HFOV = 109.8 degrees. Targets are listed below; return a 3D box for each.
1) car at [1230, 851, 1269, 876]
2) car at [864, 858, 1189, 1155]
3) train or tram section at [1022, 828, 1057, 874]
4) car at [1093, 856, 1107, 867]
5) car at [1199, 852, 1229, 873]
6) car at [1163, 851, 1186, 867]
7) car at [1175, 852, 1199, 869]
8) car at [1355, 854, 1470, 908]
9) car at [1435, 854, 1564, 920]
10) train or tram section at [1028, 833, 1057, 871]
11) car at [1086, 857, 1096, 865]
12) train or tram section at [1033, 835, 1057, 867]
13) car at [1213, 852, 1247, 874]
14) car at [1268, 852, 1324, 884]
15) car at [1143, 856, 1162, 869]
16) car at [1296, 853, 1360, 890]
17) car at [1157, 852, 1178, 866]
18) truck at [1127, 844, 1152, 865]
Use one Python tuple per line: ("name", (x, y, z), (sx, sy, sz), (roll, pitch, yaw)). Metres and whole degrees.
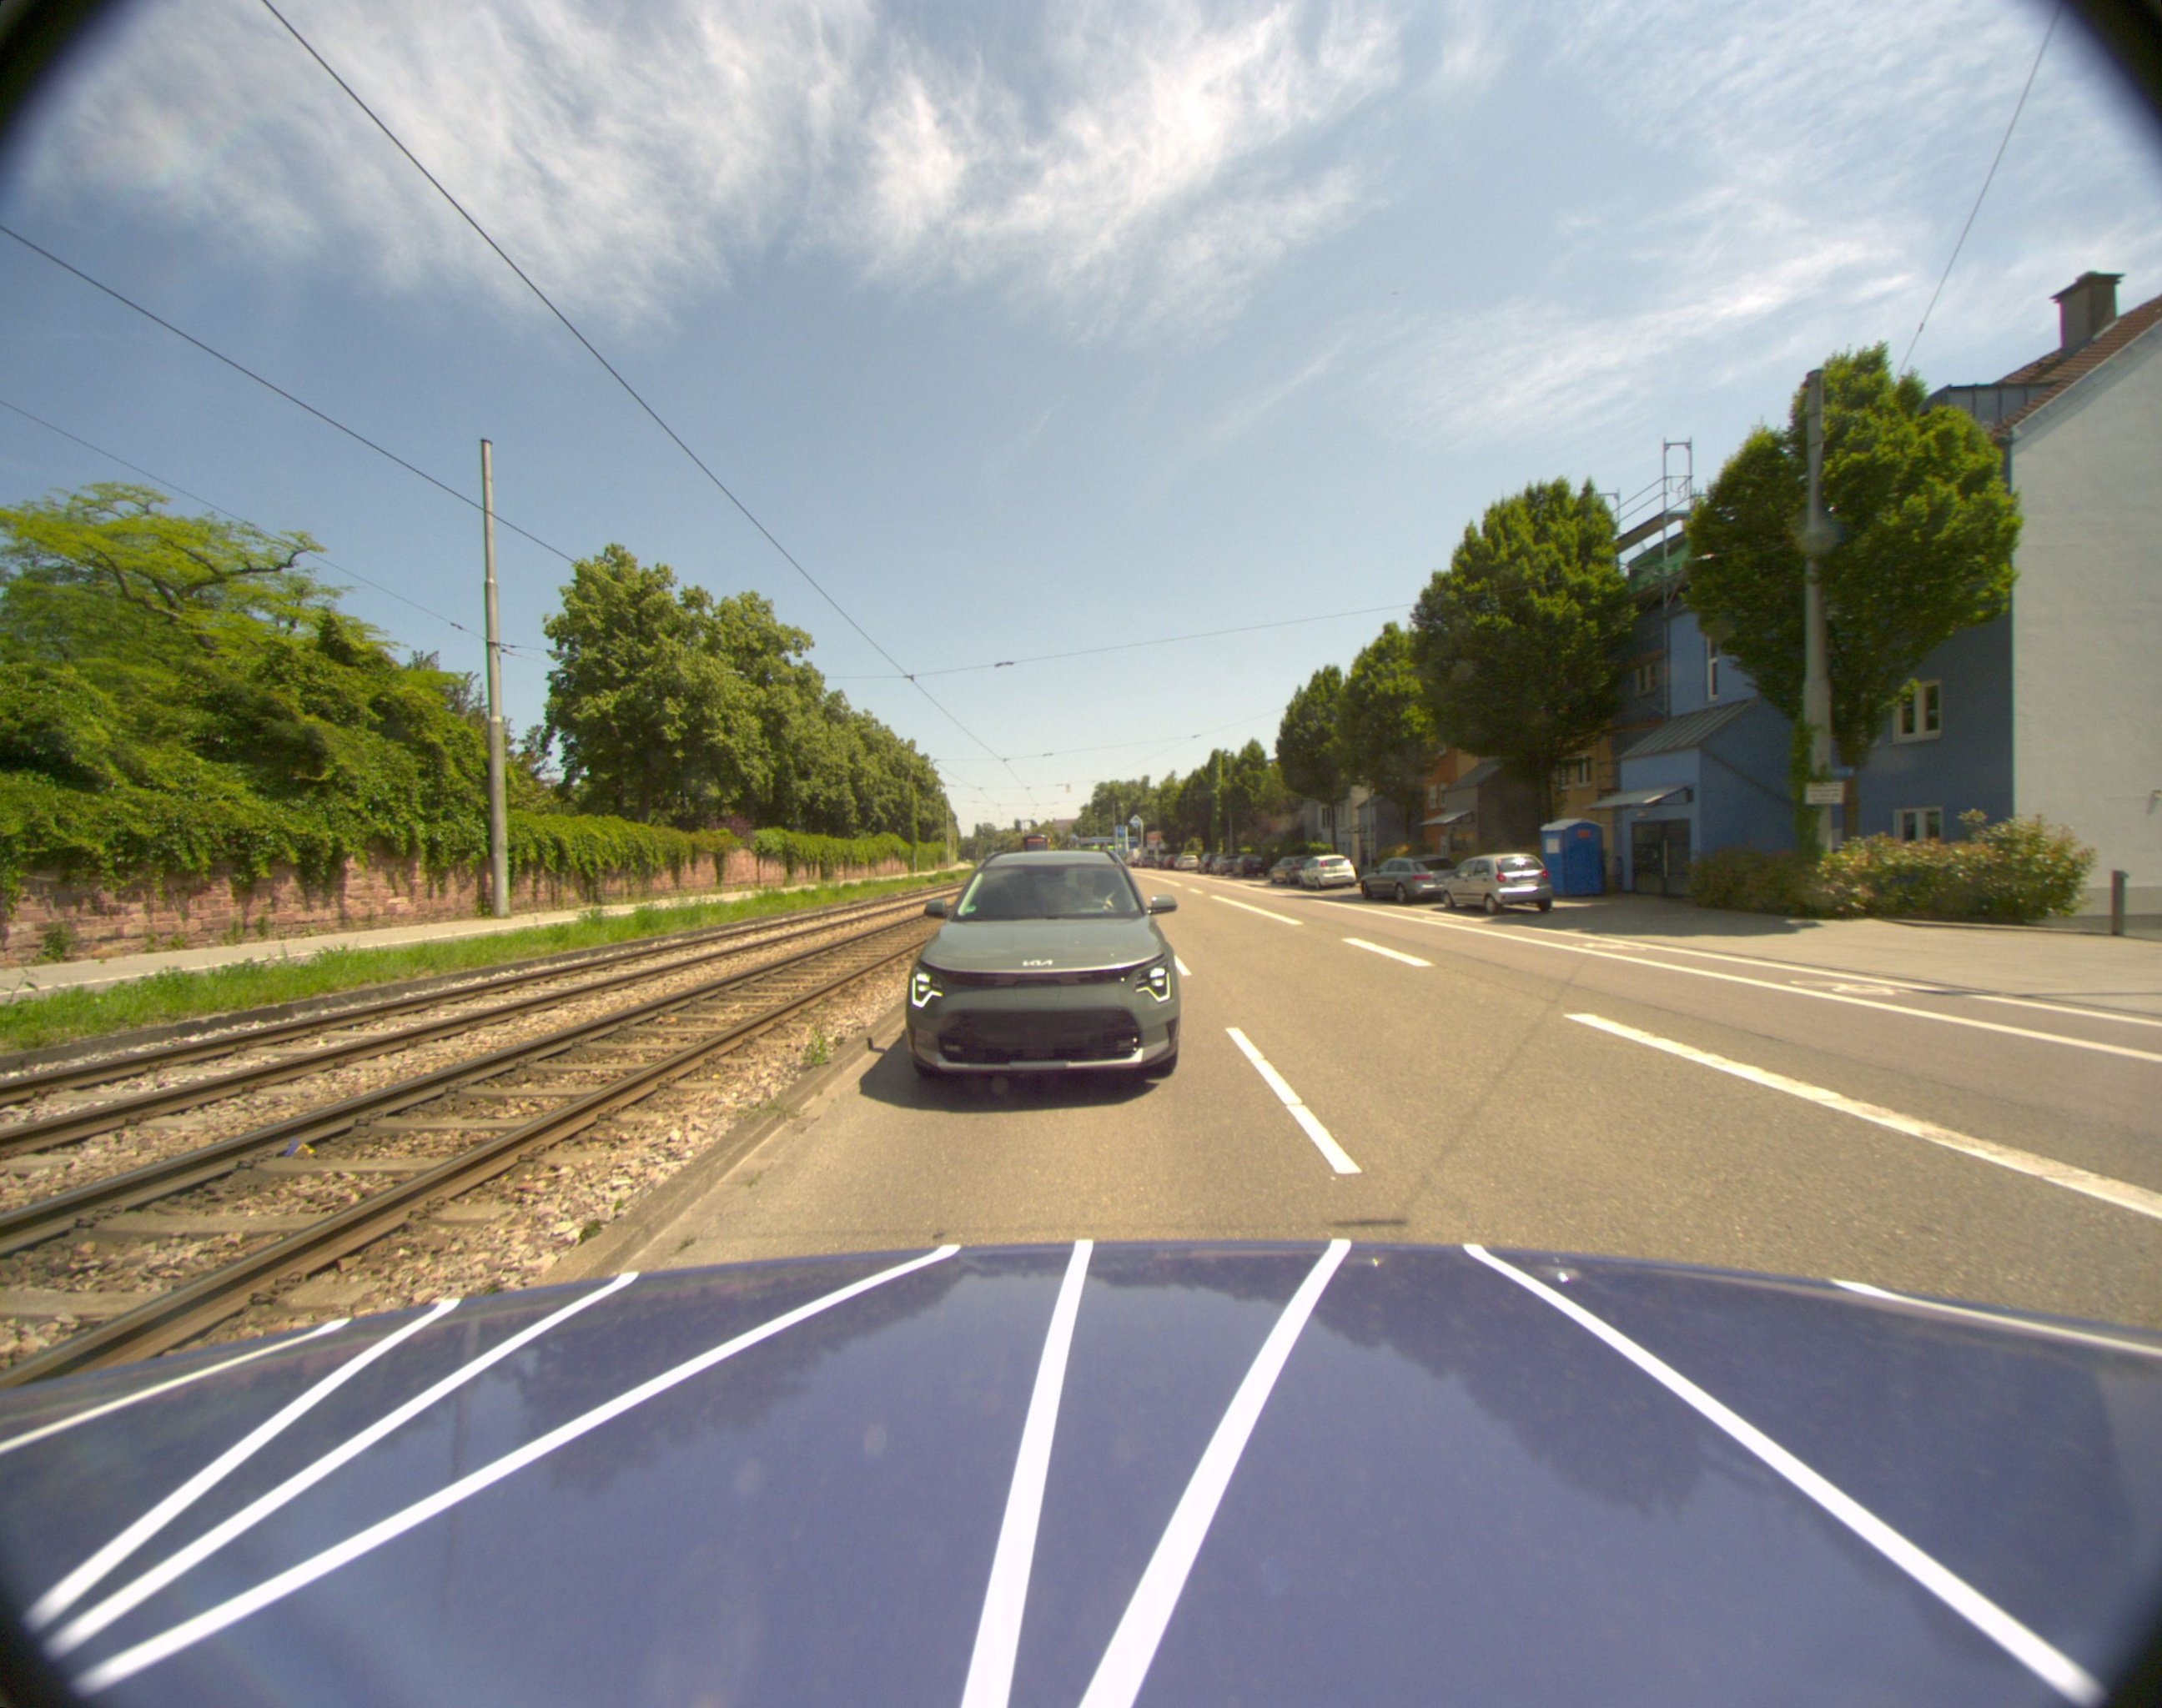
("car", (11.497, 0.612, 52.132), (1.656, 1.487, 4.082), (-5, 0, 0))
("car", (-0.275, 0.868, 6.465), (1.759, 1.574, 4.427), (-2, 0, 1))
("train or tram section", (-3.713, -0.325, 71.202), (2.814, 3.785, 14.257), (-2, 1, -2))
("car", (2.861, 1.082, 114.802), (1.865, 1.487, 3.470), (-5, 0, 0))
("car", (10.979, 0.653, 62.941), (1.656, 1.578, 4.082), (-5, 0, 0))
("car", (9.887, 0.506, 80.234), (1.865, 1.487, 3.470), (-5, 0, 0))
("car", (10.353, 0.621, 74.423), (1.723, 1.487, 4.082), (-5, 0, 0))
("car", (10.889, 0.815, 25.351), (1.680, 1.487, 4.638), (-5, 0, 0))
("car", (11.018, 0.812, 20.262), (1.505, 1.487, 3.282), (-5, 0, 0))
("train or tram section", (-4.198, -0.320, 85.473), (2.784, 3.789, 14.257), (-2, 1, -2))
("car", (1.871, 1.243, 142.269), (1.865, 1.487, 3.470), (-1, 0, -1))
("train or tram section", (-4.642, -0.486, 99.705), (2.784, 3.786, 14.257), (-2, 1, -2))
("car", (11.090, 0.650, 56.835), (1.656, 1.487, 4.082), (-5, 0, 0))
("car", (11.392, 0.711, 40.501), (1.656, 1.487, 4.082), (-5, 0, 0))
("car", (8.870, 1.056, 94.113), (1.865, 1.487, 3.470), (-5, 0, 0))
("car", (11.396, 0.783, 35.297), (1.656, 1.487, 3.649), (-5, 0, 0))
("car", (9.640, 0.547, 85.071), (1.865, 1.487, 3.470), (-5, 0, 0))
("truck", (7.714, 0.068, 100.200), (2.135, 2.565, 4.860), (-5, 0, -8))
